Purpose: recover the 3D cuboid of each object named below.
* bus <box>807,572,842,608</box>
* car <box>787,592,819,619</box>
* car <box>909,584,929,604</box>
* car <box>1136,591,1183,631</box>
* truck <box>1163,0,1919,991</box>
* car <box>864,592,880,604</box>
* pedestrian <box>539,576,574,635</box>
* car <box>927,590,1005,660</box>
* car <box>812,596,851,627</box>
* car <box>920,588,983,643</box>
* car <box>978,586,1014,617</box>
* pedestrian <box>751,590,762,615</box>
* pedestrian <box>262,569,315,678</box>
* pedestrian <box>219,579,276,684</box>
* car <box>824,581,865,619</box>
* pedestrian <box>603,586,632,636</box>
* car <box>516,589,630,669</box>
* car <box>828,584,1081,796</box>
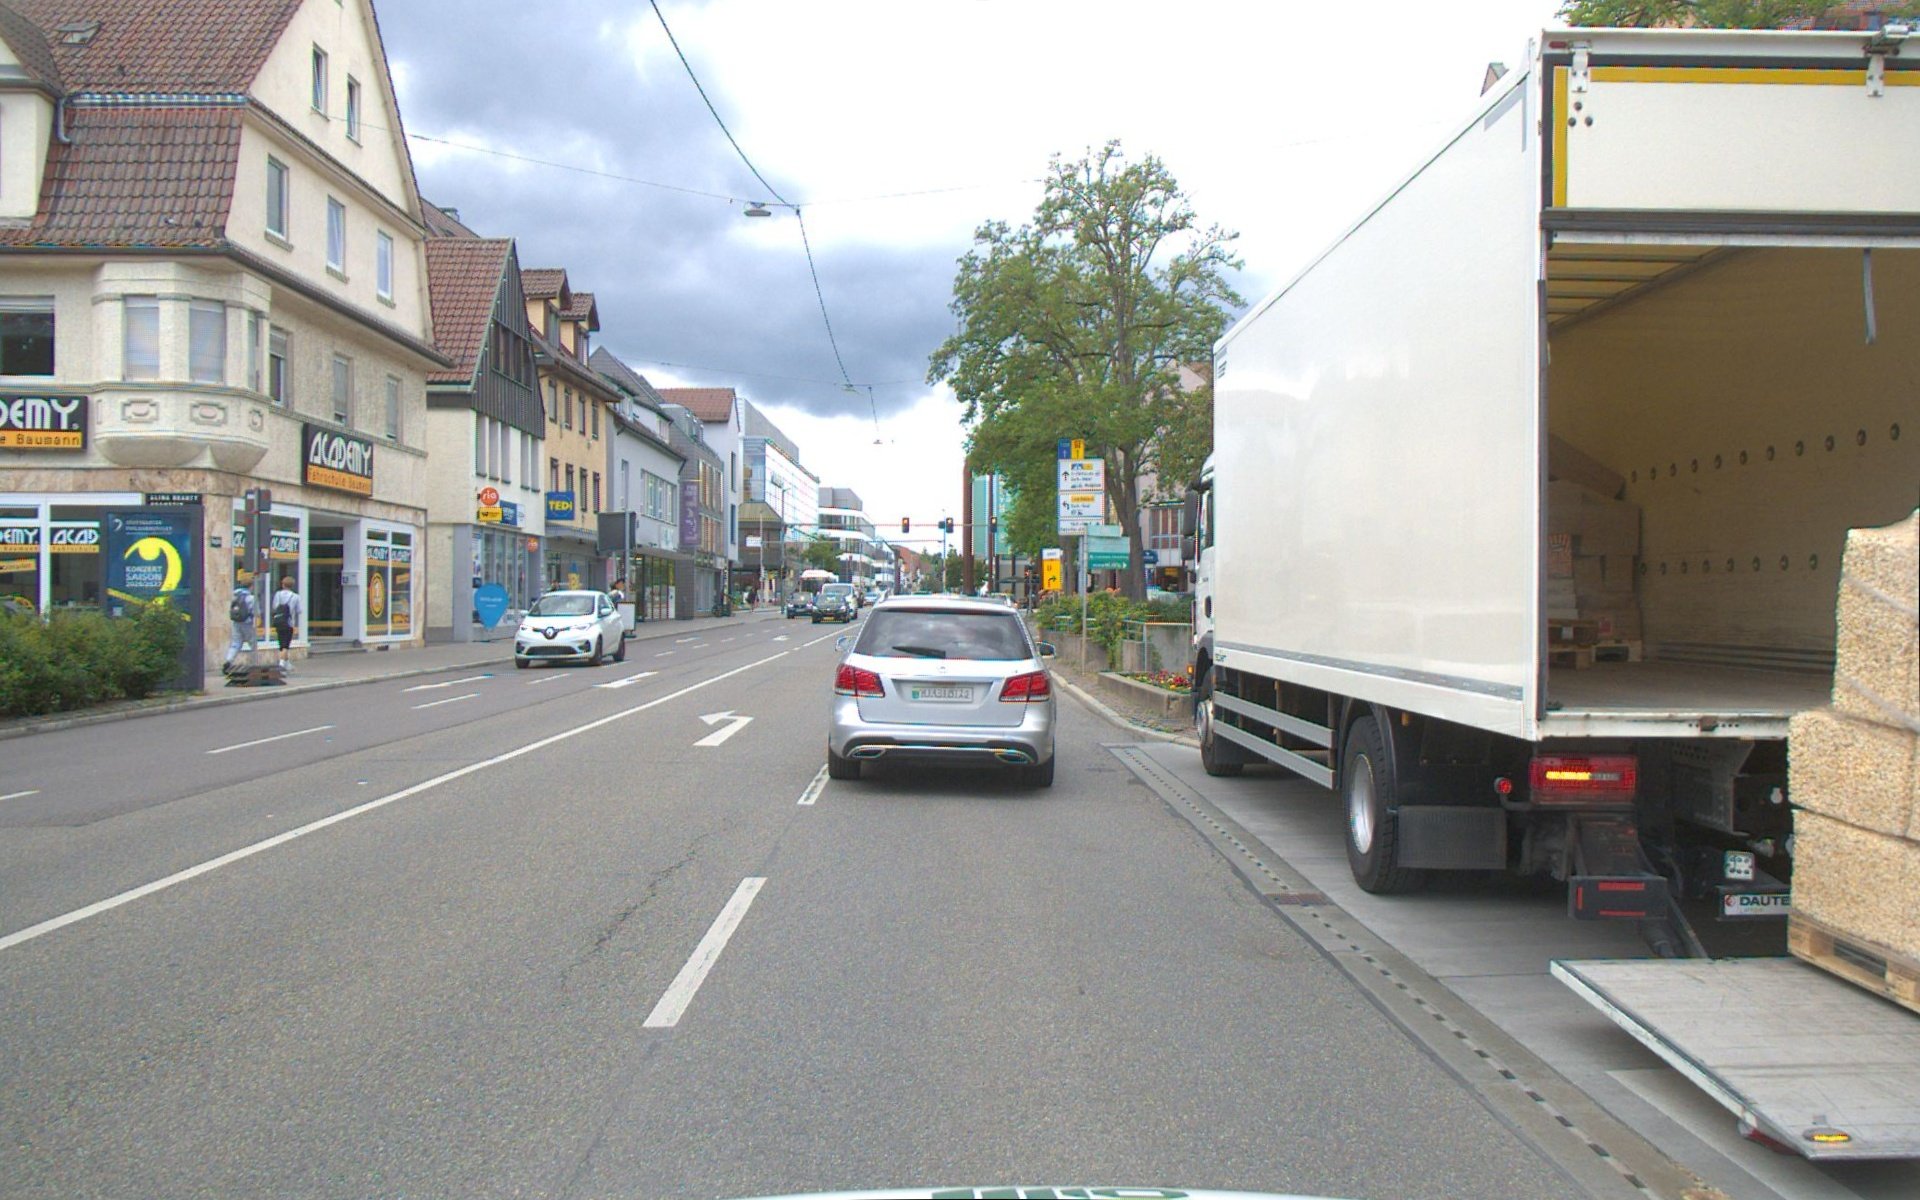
[{"bbox_3d":[-12.378,-0.943,151.776,2.718,3.220,5.932,0,0,0],"label":"bus"},{"bbox_3d":[-9.419,0.308,99.521,1.584,1.550,3.507,-1,0,-1],"label":"car"},{"bbox_3d":[-4.097,-0.603,165.240,1.953,2.049,3.999,0,0,-1],"label":"car"},{"bbox_3d":[9.618,0.508,80.002,1.828,1.897,4.000,0,0,1],"label":"car"},{"bbox_3d":[3.319,-0.436,10.834,2.634,3.623,9.764,0,0,-1],"label":"truck"},{"bbox_3d":[-9.861,-0.253,185.408,1.542,1.266,3.606,0,0,0],"label":"car"},{"bbox_3d":[-12.612,0.167,51.708,0.850,1.777,0.805,3,0,-5],"label":"pedestrian"},{"bbox_3d":[0.110,0.564,38.549,1.718,1.547,3.999,0,0,-1],"label":"car"},{"bbox_3d":[-6.237,0.534,80.732,1.584,1.453,3.922,-1,0,0],"label":"car"},{"bbox_3d":[-0.280,0.482,53.907,1.953,1.713,4.000,0,0,0],"label":"car"},{"bbox_3d":[2.030,0.070,95.184,1.953,1.713,4.000,0,0,0],"label":"car"},{"bbox_3d":[-13.403,0.163,108.779,0.574,1.663,0.614,3,0,-3],"label":"pedestrian"},{"bbox_3d":[-11.570,0.400,28.498,0.620,1.856,0.680,-1,0,-1],"label":"pedestrian"},{"bbox_3d":[-12.351,0.534,28.679,0.673,1.792,0.680,-1,0,-1],"label":"pedestrian"},{"bbox_3d":[-6.310,0.018,90.994,1.921,1.995,5.139,-1,0,-1],"label":"car"},{"bbox_3d":[-11.668,0.365,56.396,0.801,1.663,0.979,2,0,-6],"label":"pedestrian"},{"bbox_3d":[-8.108,0.591,34.966,1.607,1.595,3.925,0,0,-2],"label":"car"},{"bbox_3d":[-0.124,0.663,14.099,1.837,1.532,3.998,1,0,-3],"label":"car"}]
